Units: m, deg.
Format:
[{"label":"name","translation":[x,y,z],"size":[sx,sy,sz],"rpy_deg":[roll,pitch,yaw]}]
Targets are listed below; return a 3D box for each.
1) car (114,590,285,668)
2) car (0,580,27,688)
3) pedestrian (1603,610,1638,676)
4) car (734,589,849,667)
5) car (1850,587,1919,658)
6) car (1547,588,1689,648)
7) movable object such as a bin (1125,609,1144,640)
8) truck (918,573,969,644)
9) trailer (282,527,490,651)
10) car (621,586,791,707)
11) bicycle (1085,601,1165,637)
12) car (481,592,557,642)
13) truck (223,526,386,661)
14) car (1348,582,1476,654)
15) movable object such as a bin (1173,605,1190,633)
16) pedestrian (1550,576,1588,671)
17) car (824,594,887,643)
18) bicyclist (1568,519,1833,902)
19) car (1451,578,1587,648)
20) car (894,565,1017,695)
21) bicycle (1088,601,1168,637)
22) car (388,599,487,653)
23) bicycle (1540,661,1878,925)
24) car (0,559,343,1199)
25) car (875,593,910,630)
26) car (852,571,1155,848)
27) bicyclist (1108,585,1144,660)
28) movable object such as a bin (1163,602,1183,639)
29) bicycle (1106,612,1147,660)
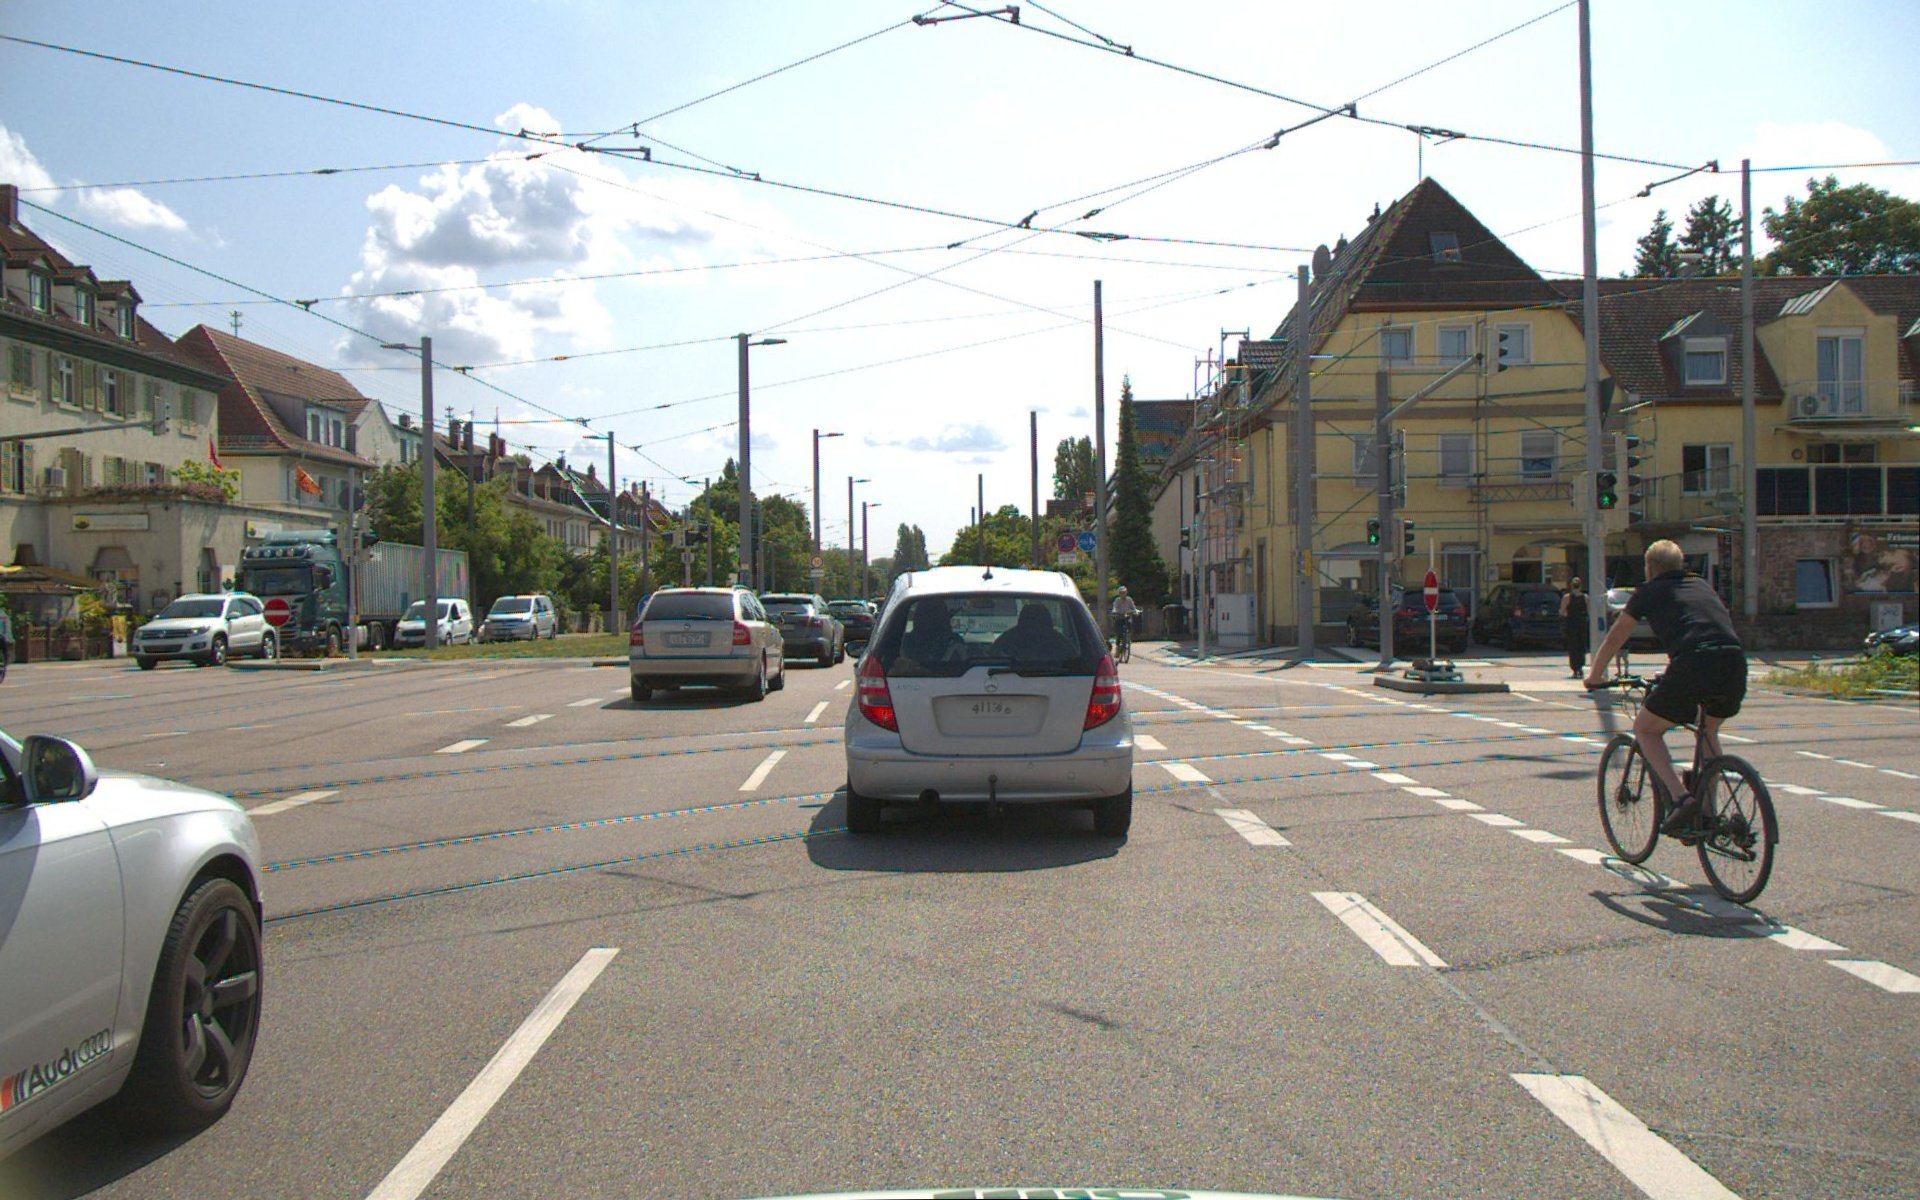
[{"label":"car","translation":[-17.516,0.656,38.312],"size":[1.953,1.579,4.177],"rpy_deg":[-4,-1,0]},{"label":"car","translation":[-17.107,0.624,25.978],"size":[1.952,1.807,4.879],"rpy_deg":[-2,0,2]},{"label":"pedestrian","translation":[11.755,0.757,29.440],"size":[0.478,1.156,0.389],"rpy_deg":[1,-1,0]},{"label":"car","translation":[-3.456,0.565,34.650],"size":[1.877,1.503,4.562],"rpy_deg":[1,0,1]},{"label":"car","translation":[19.858,0.462,32.171],"size":[4.230,1.331,1.738],"rpy_deg":[1,-1,-4]},{"label":"car","translation":[16.061,0.443,40.618],"size":[1.829,1.375,4.130],"rpy_deg":[1,-1,0]},{"label":"movable object such as a bin","translation":[5.371,0.752,50.821],"size":[0.501,0.934,0.741],"rpy_deg":[0,-1,0]},{"label":"truck","translation":[-0.682,0.343,64.517],"size":[1.815,2.597,5.852],"rpy_deg":[1,-1,-2]},{"label":"trailer","translation":[-20.349,-0.436,59.786],"size":[2.545,3.887,12.839],"rpy_deg":[-3,1,2]},{"label":"car","translation":[-3.343,0.559,22.462],"size":[1.696,1.474,4.123],"rpy_deg":[1,0,0]},{"label":"bicycle","translation":[5.683,0.669,56.990],"size":[2.671,1.139,0.691],"rpy_deg":[-2,-1,-2]},{"label":"car","translation":[-17.415,0.689,65.531],"size":[1.758,1.847,4.711],"rpy_deg":[-2,-1,-1]},{"label":"truck","translation":[-20.550,-0.226,52.206],"size":[2.545,3.887,5.669],"rpy_deg":[-3,1,2]},{"label":"car","translation":[10.897,0.438,40.142],"size":[1.953,1.624,4.130],"rpy_deg":[1,-1,0]},{"label":"movable object such as a bin","translation":[7.579,0.649,56.563],"size":[0.458,0.963,0.558],"rpy_deg":[-1,-1,-1]},{"label":"pedestrian","translation":[10.840,0.420,29.460],"size":[0.535,1.672,0.401],"rpy_deg":[1,-1,4]},{"label":"car","translation":[-3.199,0.567,51.205],"size":[1.815,1.413,4.512],"rpy_deg":[1,-1,-2]},{"label":"bicyclist","translation":[3.791,0.532,8.561],"size":[0.811,1.825,1.084],"rpy_deg":[-2,0,-1]},{"label":"car","translation":[13.746,0.327,40.913],"size":[1.953,1.624,4.130],"rpy_deg":[1,-1,0]},{"label":"car","translation":[-0.076,0.436,25.086],"size":[1.694,1.793,4.016],"rpy_deg":[1,-1,0]},{"label":"bicycle","translation":[5.717,0.654,56.262],"size":[2.608,1.124,0.786],"rpy_deg":[-2,-1,-2]},{"label":"car","translation":[-17.279,0.847,54.912],"size":[1.757,1.665,4.471],"rpy_deg":[-2,-1,1]},{"label":"bicycle","translation":[3.801,0.926,8.612],"size":[0.811,1.094,1.971],"rpy_deg":[-2,0,-1]},{"label":"car","translation":[-2.792,0.681,2.869],"size":[1.758,1.497,4.720],"rpy_deg":[-1,0,-1]},{"label":"car","translation":[-3.556,0.602,87.195],"size":[1.815,1.875,3.916],"rpy_deg":[1,-1,-2]},{"label":"car","translation":[0.153,0.603,11.317],"size":[1.695,1.543,4.014],"rpy_deg":[1,0,-3]},{"label":"bicyclist","translation":[3.984,0.547,39.652],"size":[0.638,1.768,0.982],"rpy_deg":[1,-1,-7]},{"label":"movable object such as a bin","translation":[6.556,0.620,50.945],"size":[0.501,1.124,0.855],"rpy_deg":[0,-1,0]},{"label":"bicycle","translation":[3.978,0.852,39.577],"size":[0.638,1.137,1.585],"rpy_deg":[1,-1,-7]}]
